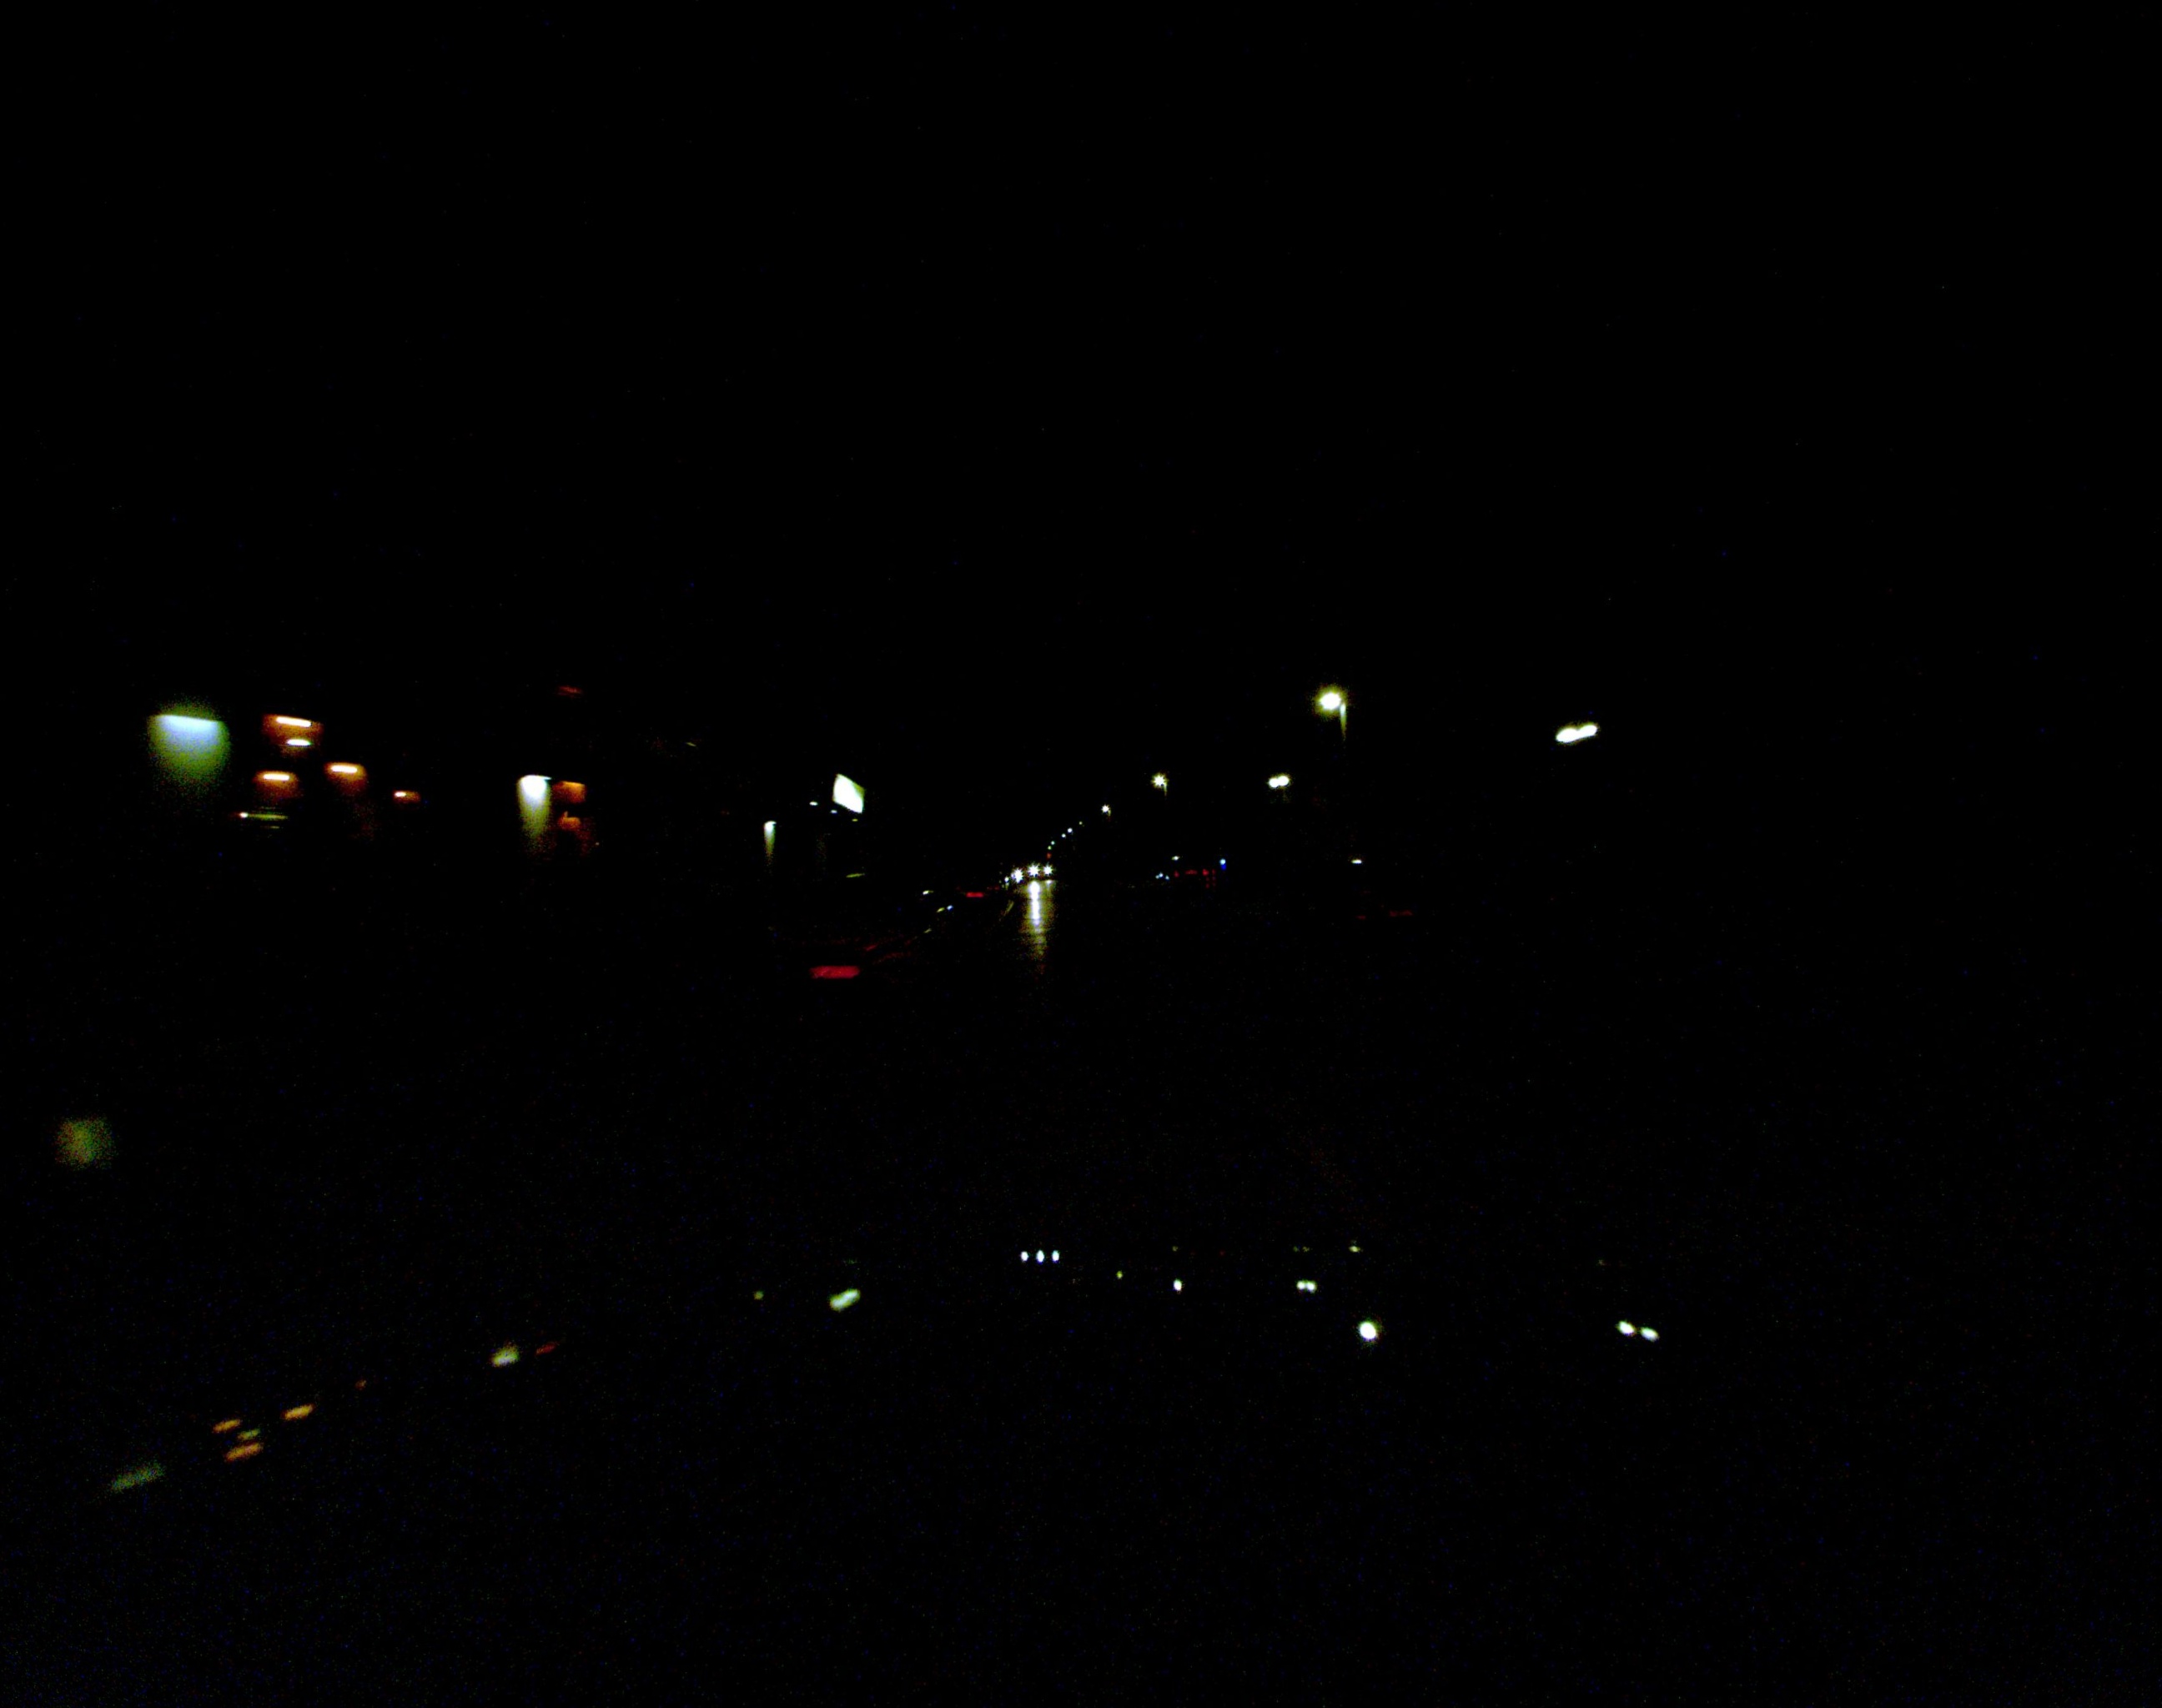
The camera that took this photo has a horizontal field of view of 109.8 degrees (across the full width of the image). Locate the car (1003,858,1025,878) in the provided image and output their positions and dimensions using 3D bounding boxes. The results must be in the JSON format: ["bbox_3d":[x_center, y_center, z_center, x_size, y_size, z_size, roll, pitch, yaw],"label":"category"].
[{"bbox_3d":[-5.573,1.164,63.596,1.643,1.458,3.774,-4,0,-4],"label":"car"}]

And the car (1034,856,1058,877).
[{"bbox_3d":[-2.766,0.979,59.250,1.628,1.496,3.548,-3,0,-5],"label":"car"}]

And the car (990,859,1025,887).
[{"bbox_3d":[-4.495,1.136,46.981,1.681,1.439,4.611,-3,0,0],"label":"car"}]

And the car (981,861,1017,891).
[{"bbox_3d":[-4.475,1.145,41.881,1.785,1.429,4.287,-3,0,-5],"label":"car"}]

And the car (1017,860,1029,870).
[{"bbox_3d":[-9.216,1.690,120.873,1.702,1.447,3.712,-3,0,-5],"label":"car"}]

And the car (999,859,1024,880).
[{"bbox_3d":[-5.344,1.150,58.690,1.767,1.407,4.438,-3,0,-5],"label":"car"}]

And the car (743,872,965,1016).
[{"bbox_3d":[-2.841,1.045,10.655,1.862,1.433,4.593,0,0,-2],"label":"car"}]

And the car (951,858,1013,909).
[{"bbox_3d":[-3.395,0.966,26.790,1.792,1.632,4.378,0,0,-3],"label":"car"}]

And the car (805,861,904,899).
[{"bbox_3d":[-10.555,1.164,35.483,4.076,1.576,1.703,-2,1,-34],"label":"car"}]

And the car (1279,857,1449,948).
[{"bbox_3d":[5.325,0.831,14.915,1.696,1.428,4.127,-4,0,-1],"label":"car"}]

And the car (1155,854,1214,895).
[{"bbox_3d":[4.343,0.818,32.409,1.697,1.515,3.689,-3,1,-5],"label":"car"}]
